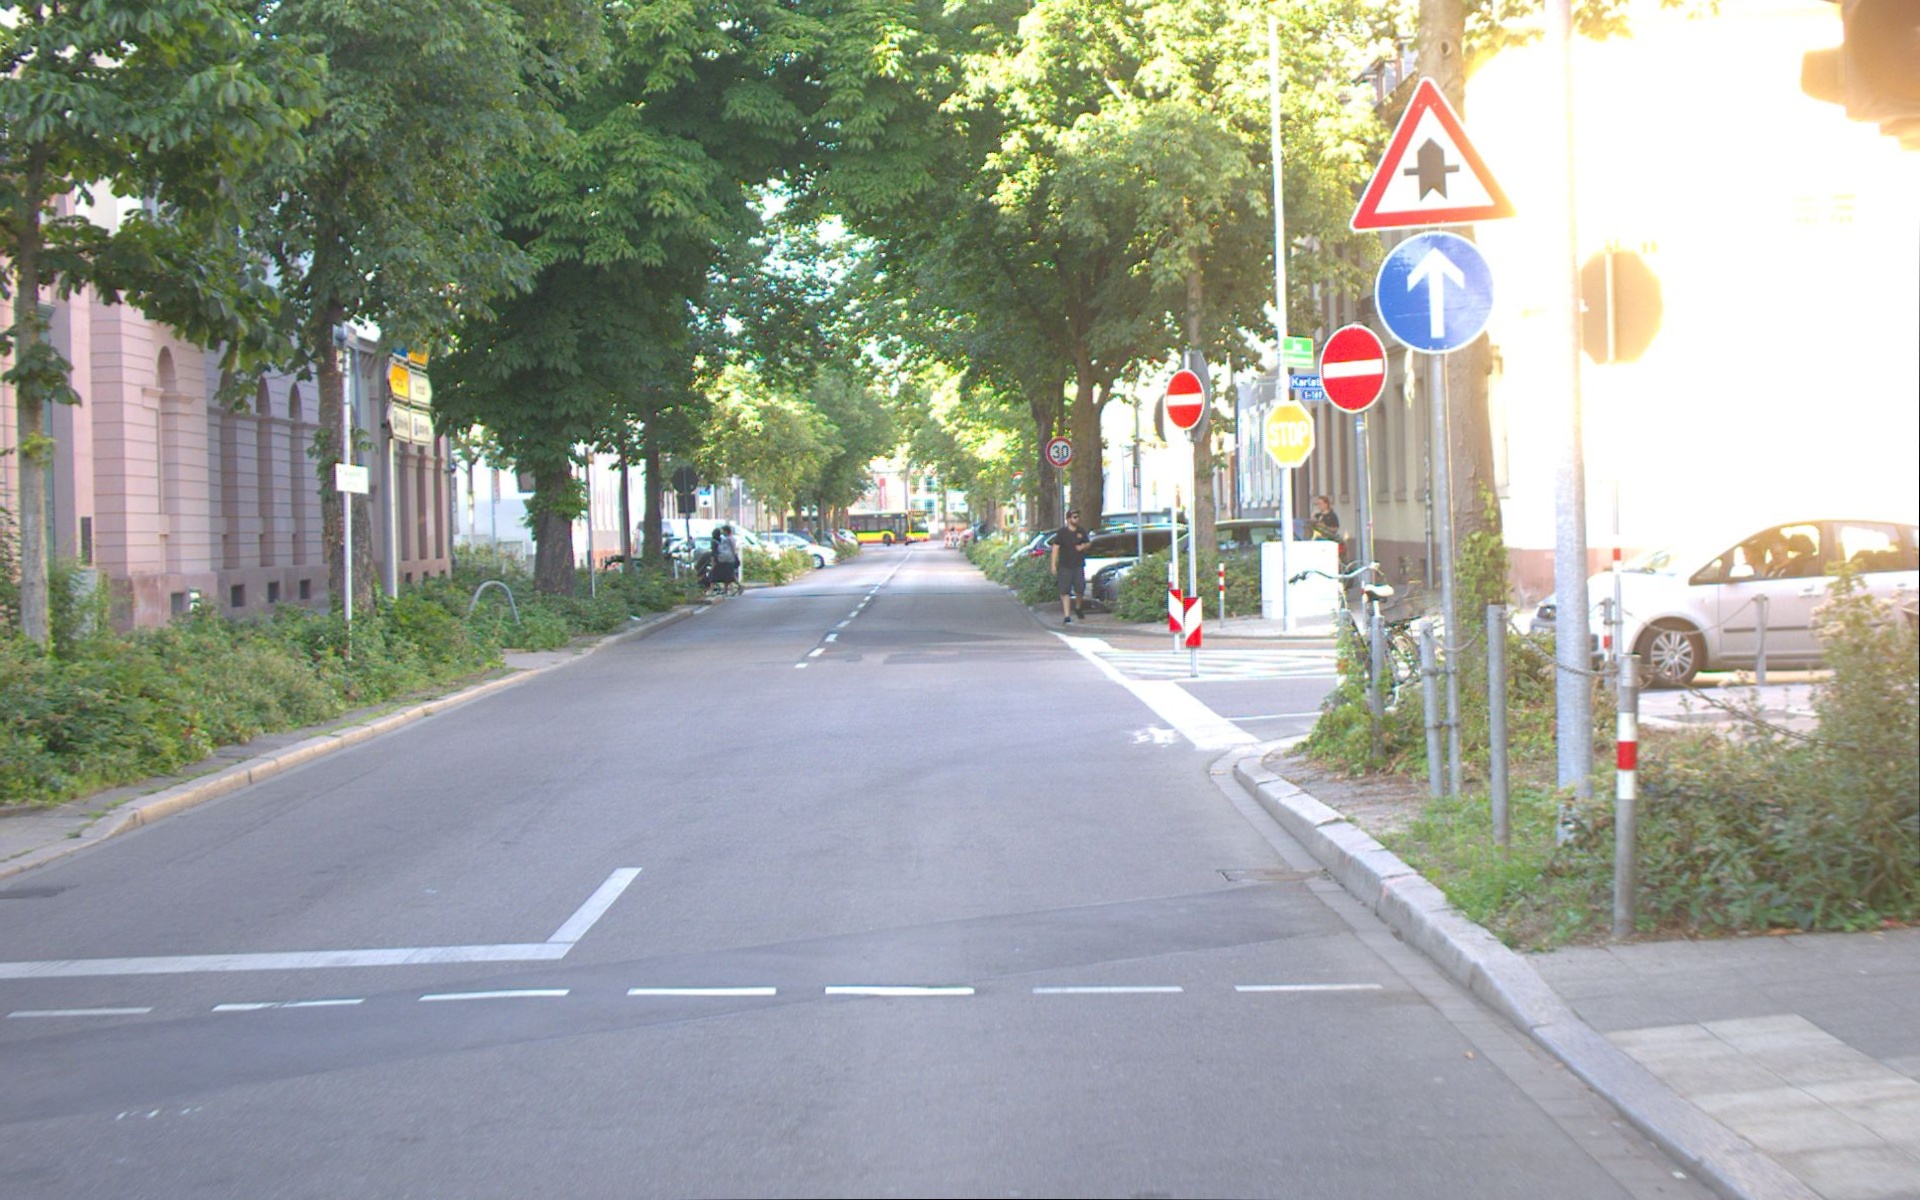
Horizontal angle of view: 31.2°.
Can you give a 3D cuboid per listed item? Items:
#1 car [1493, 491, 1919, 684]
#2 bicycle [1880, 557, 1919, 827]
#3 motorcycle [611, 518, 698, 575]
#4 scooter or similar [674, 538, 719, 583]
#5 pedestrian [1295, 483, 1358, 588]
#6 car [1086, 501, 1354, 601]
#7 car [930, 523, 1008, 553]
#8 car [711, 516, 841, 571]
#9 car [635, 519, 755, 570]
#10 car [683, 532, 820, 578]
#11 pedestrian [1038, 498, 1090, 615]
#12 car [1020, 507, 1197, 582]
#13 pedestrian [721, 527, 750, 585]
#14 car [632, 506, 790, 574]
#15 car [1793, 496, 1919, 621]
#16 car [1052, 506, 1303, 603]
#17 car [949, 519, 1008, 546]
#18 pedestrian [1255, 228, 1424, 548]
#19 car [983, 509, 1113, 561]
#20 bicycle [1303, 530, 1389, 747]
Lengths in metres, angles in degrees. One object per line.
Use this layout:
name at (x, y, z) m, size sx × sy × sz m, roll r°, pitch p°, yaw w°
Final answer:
car at (7.273, -0.146, 31.436) m, size 4.337 × 1.648 × 1.886 m, roll -1°, pitch 1°, yaw -10°
bicycle at (4.407, 0.404, 14.033) m, size 0.523 × 1.148 × 2.249 m, roll -1°, pitch 1°, yaw -4°
motorcycle at (-7.003, -1.221, 78.821) m, size 1.919 × 1.254 × 0.591 m, roll -1°, pitch 1°, yaw 0°
scooter or similar at (-6.400, -0.968, 83.500) m, size 0.896 × 1.085 × 0.845 m, roll 0°, pitch 1°, yaw 10°
pedestrian at (6.061, -1.070, 56.857) m, size 0.943 × 1.700 × 0.782 m, roll -1°, pitch 2°, yaw 2°
car at (4.138, -0.797, 55.106) m, size 4.107 × 1.485 × 1.850 m, roll -1°, pitch 2°, yaw -1°
car at (0.466, -3.241, 179.106) m, size 3.986 × 1.437 × 1.697 m, roll -2°, pitch 1°, yaw -2°
car at (-7.432, -2.303, 139.471) m, size 5.064 × 2.076 × 2.263 m, roll -2°, pitch 1°, yaw 2°
car at (-8.364, -1.763, 108.621) m, size 3.725 × 1.503 × 1.873 m, roll -2°, pitch 1°, yaw -4°
car at (-8.098, -1.765, 134.089) m, size 5.064 × 1.611 × 2.263 m, roll -1°, pitch 1°, yaw 3°
pedestrian at (1.669, -0.704, 55.218) m, size 0.794 × 1.862 × 0.751 m, roll -1°, pitch 1°, yaw 2°
car at (3.473, -1.314, 80.970) m, size 4.014 × 1.617 × 1.781 m, roll -2°, pitch 1°, yaw -1°
pedestrian at (-5.407, -1.058, 82.814) m, size 0.655 × 1.390 × 0.607 m, roll 0°, pitch 1°, yaw 0°
car at (-8.231, -2.000, 114.011) m, size 5.064 × 2.076 × 2.263 m, roll -2°, pitch 1°, yaw 0°
car at (12.836, -0.539, 42.938) m, size 4.415 × 1.537 × 1.864 m, roll 0°, pitch 2°, yaw 26°
car at (3.767, -0.807, 60.076) m, size 4.192 × 1.475 × 1.852 m, roll -3°, pitch 1°, yaw 0°
car at (1.310, -4.854, 246.281) m, size 3.988 × 1.831 × 2.000 m, roll -1°, pitch 1°, yaw 7°
pedestrian at (2.586, -1.426, 23.558) m, size 1.043 × 2.139 × 1.063 m, roll 0°, pitch 1°, yaw 0°
car at (3.165, -2.359, 124.160) m, size 4.593 × 1.755 × 2.222 m, roll -2°, pitch 1°, yaw 1°
bicycle at (2.553, 0.235, 22.679) m, size 0.417 × 1.367 × 1.288 m, roll -2°, pitch 1°, yaw 11°
